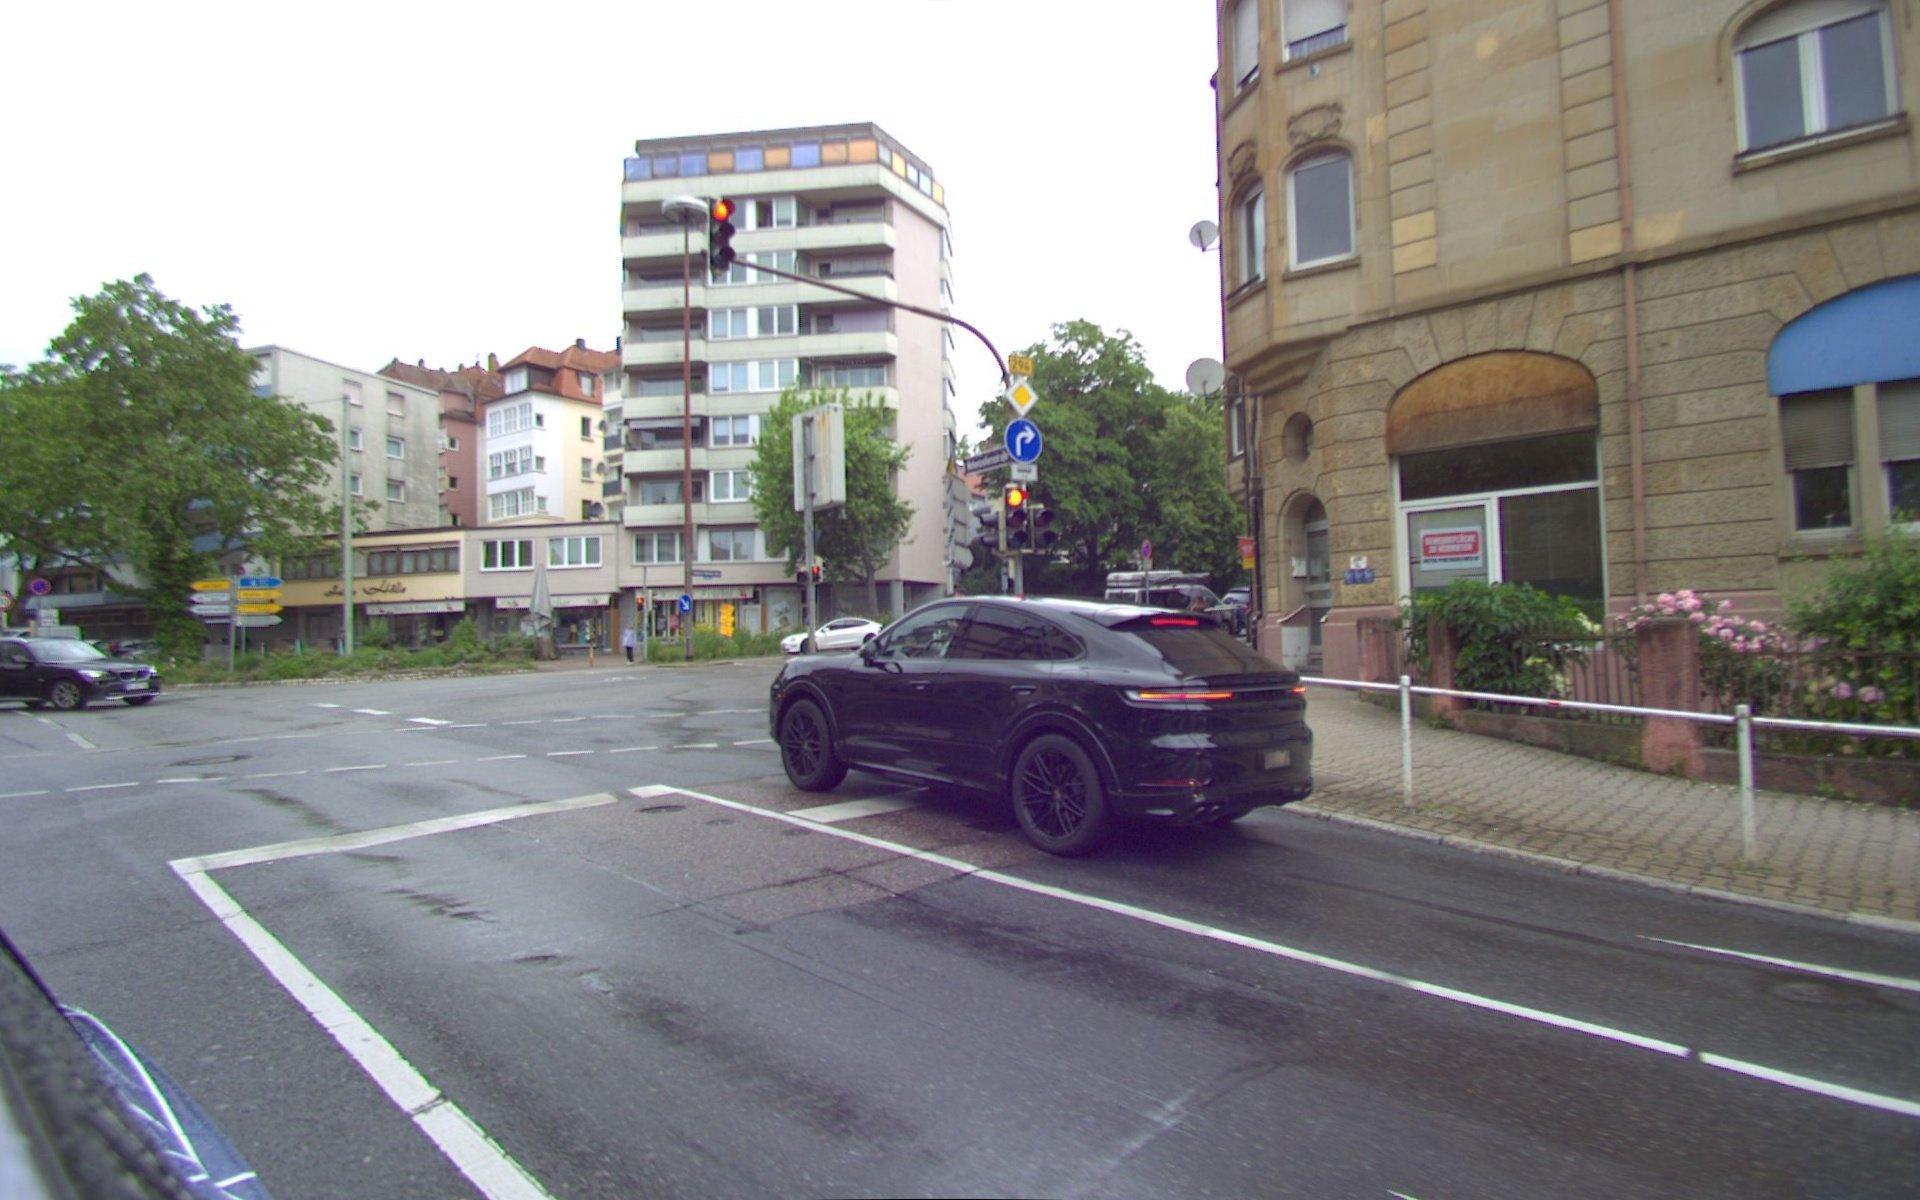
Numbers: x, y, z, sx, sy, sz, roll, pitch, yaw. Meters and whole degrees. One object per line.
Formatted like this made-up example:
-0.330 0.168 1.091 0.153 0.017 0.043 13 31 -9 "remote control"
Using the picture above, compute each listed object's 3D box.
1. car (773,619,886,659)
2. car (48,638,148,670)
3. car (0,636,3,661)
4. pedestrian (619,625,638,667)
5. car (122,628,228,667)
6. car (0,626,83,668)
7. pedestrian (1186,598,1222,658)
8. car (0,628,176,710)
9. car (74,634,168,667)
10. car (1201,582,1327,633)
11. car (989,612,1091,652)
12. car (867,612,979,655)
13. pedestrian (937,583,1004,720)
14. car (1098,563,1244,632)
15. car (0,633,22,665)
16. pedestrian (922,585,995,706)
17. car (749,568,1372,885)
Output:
-5.554 1.613 43.090 4.317 1.503 1.920 -2 0 -28 "car"
-43.725 2.724 51.417 1.790 1.426 3.699 0 0 5 "car"
-55.749 2.776 56.031 1.673 1.416 3.824 0 0 10 "car"
-13.626 1.893 41.612 0.611 1.706 0.625 -1 -1 -3 "pedestrian"
-38.561 2.301 49.845 1.915 1.655 4.214 0 0 1 "car"
-48.651 2.416 52.325 1.860 1.992 4.959 0 0 11 "car"
6.908 0.788 28.640 0.781 1.674 0.663 -2 0 34 "pedestrian"
-19.053 1.439 21.239 4.167 1.546 1.753 -2 -1 9 "car"
-41.389 2.451 50.029 1.609 1.426 3.620 0 0 1 "car"
11.098 0.237 36.942 4.307 1.717 2.006 -1 0 -31 "car"
3.411 1.348 43.103 3.954 1.503 1.772 -2 -2 -28 "car"
-1.450 1.331 39.867 3.954 1.503 1.772 -2 -2 -28 "car"
0.134 0.677 13.617 0.516 1.787 0.694 -1 0 -44 "pedestrian"
7.194 -0.117 34.365 4.722 2.185 2.006 -1 0 -31 "car"
-53.191 2.650 54.314 1.788 1.702 3.821 0 0 12 "car"
-0.023 0.651 14.889 0.829 1.715 0.630 -2 0 42 "pedestrian"
0.434 0.682 7.899 1.941 1.706 4.814 0 0 -42 "car"
